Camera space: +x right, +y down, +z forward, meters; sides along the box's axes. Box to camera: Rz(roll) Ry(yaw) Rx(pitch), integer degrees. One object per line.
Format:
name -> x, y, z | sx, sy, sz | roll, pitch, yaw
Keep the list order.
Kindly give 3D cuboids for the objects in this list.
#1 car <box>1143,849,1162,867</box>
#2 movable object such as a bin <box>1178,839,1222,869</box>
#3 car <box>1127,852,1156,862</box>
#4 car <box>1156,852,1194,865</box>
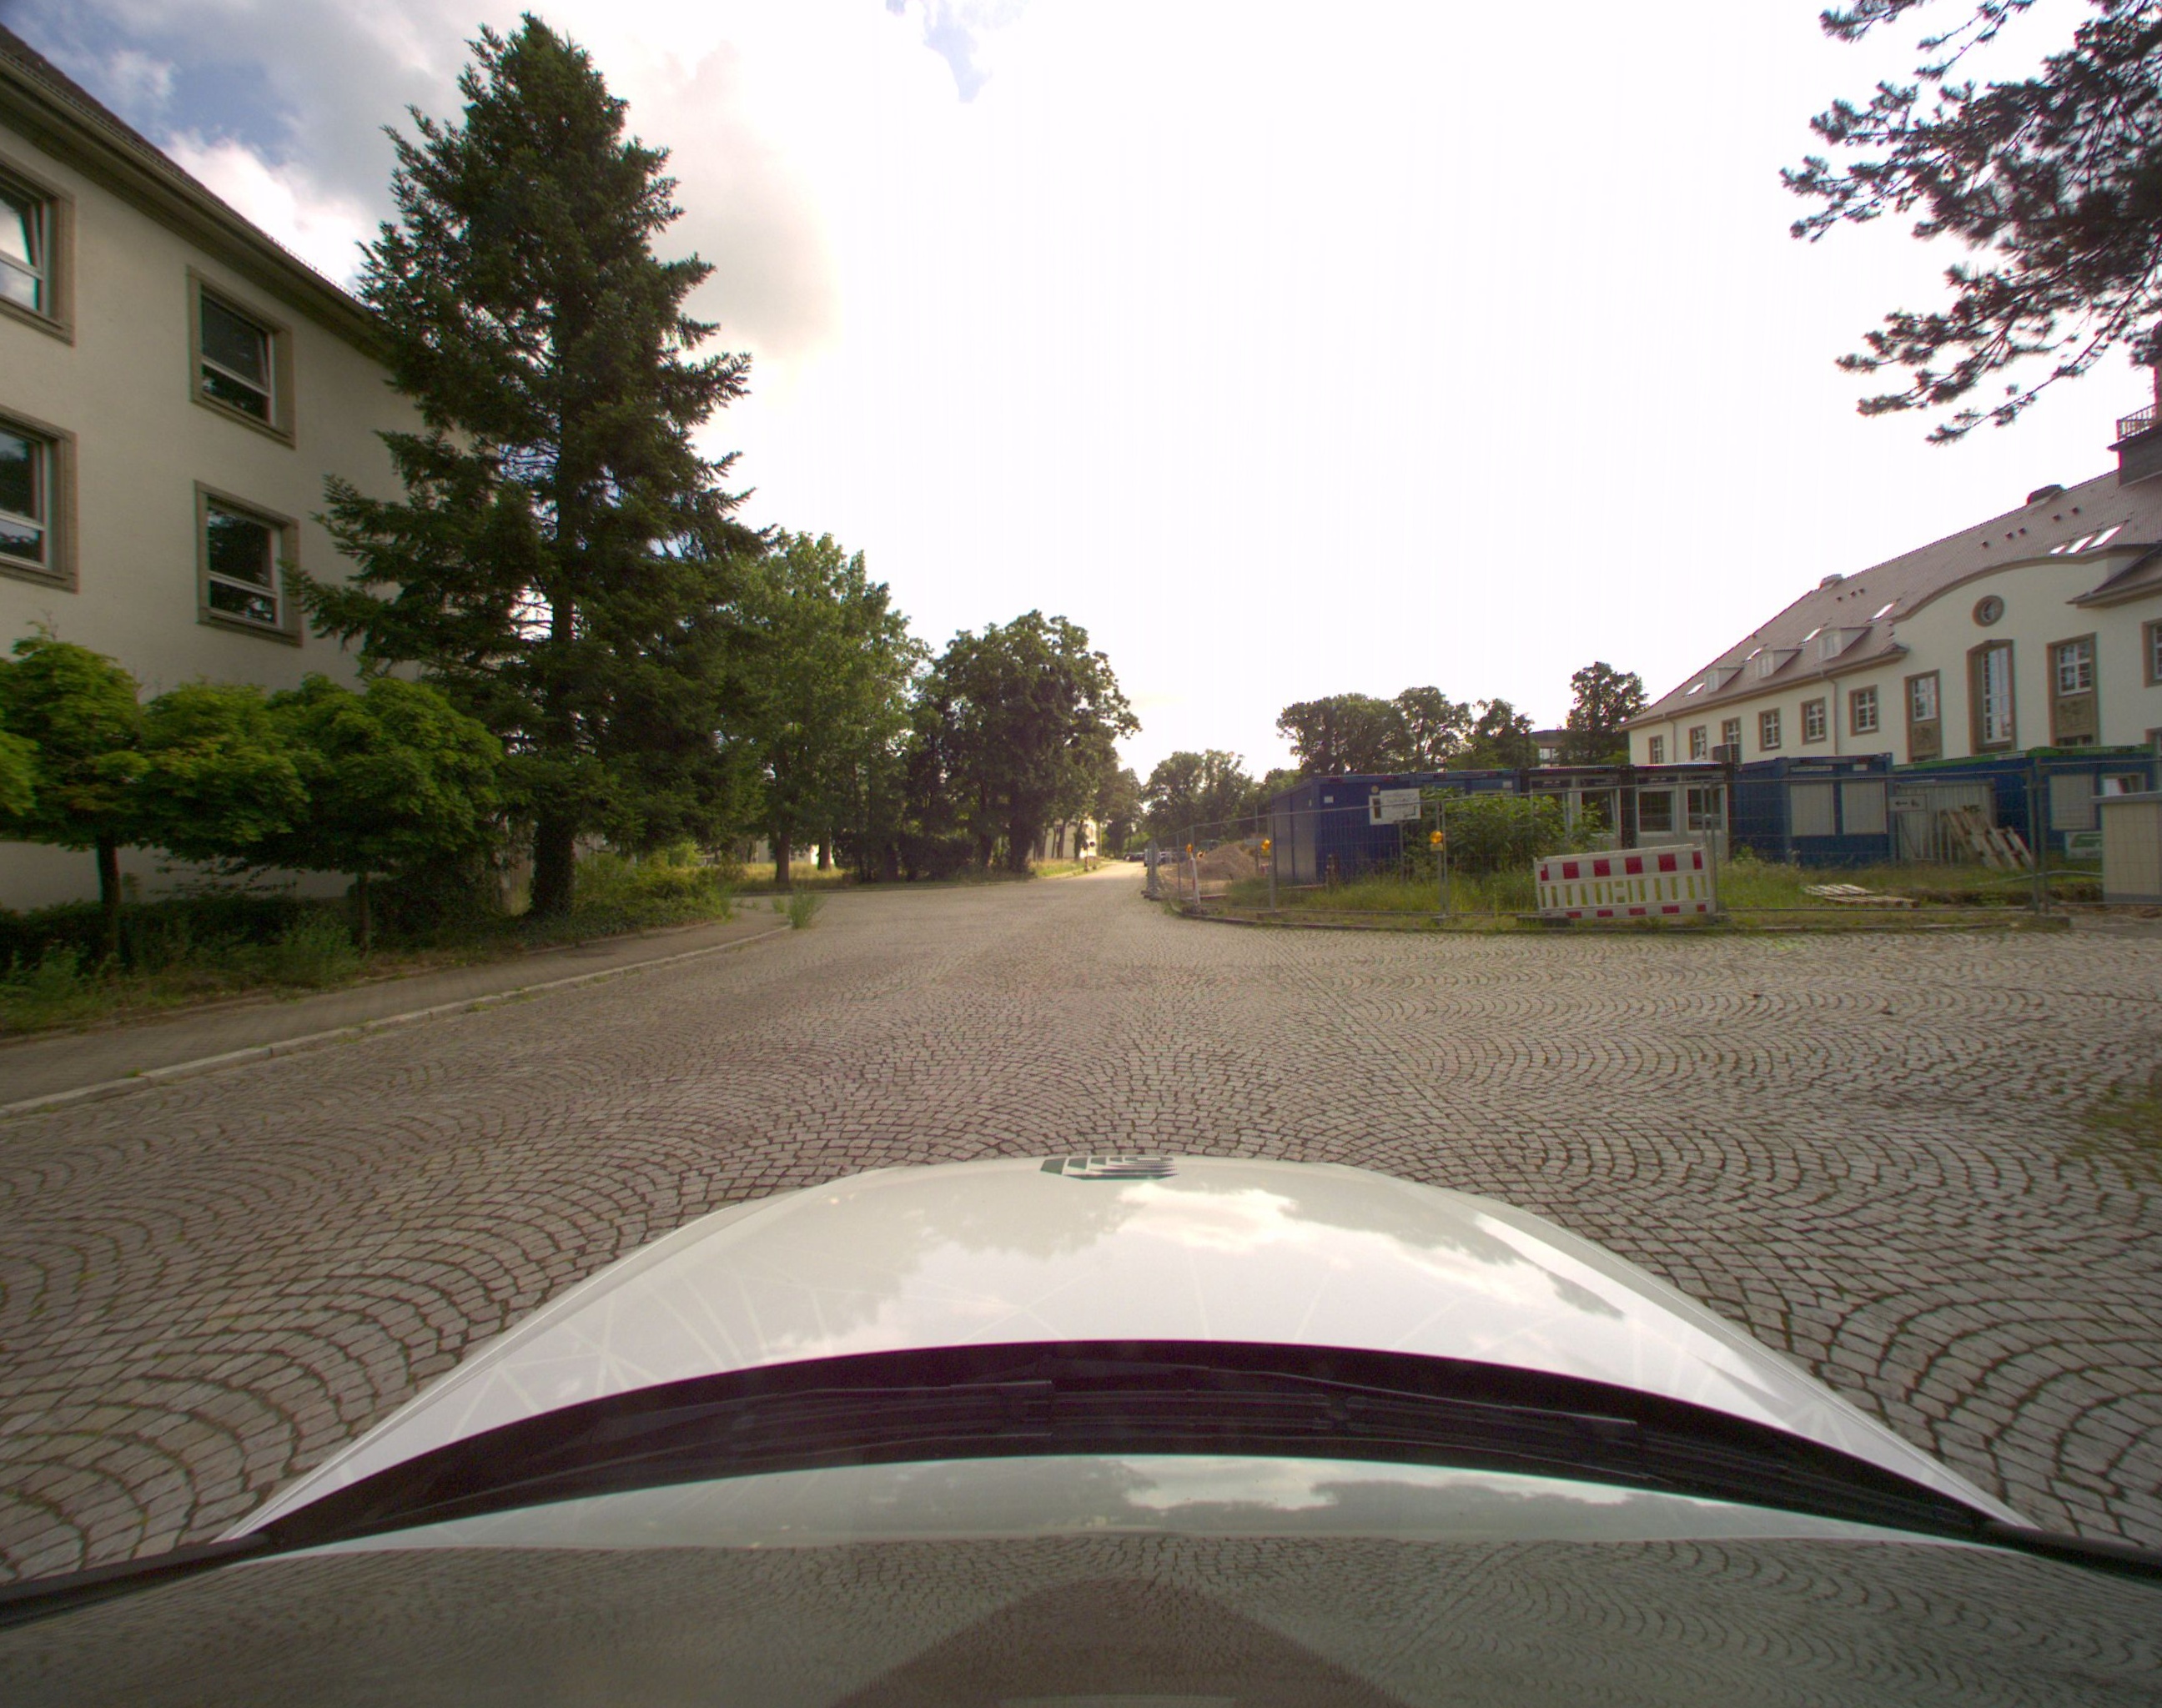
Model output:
car -> 8.154, 0.443, 93.024 | 1.985, 2.014, 4.094 | -1, 0, 3
movable object such as a bin -> 11.069, -0.013, 75.393 | 2.108, 2.593, 4.822 | -2, 0, 33
car -> 10.492, 0.478, 141.335 | 4.766, 1.641, 1.999 | -1, -1, -1
car -> 11.403, 0.511, 98.892 | 4.373, 1.510, 2.007 | -1, 0, 12
